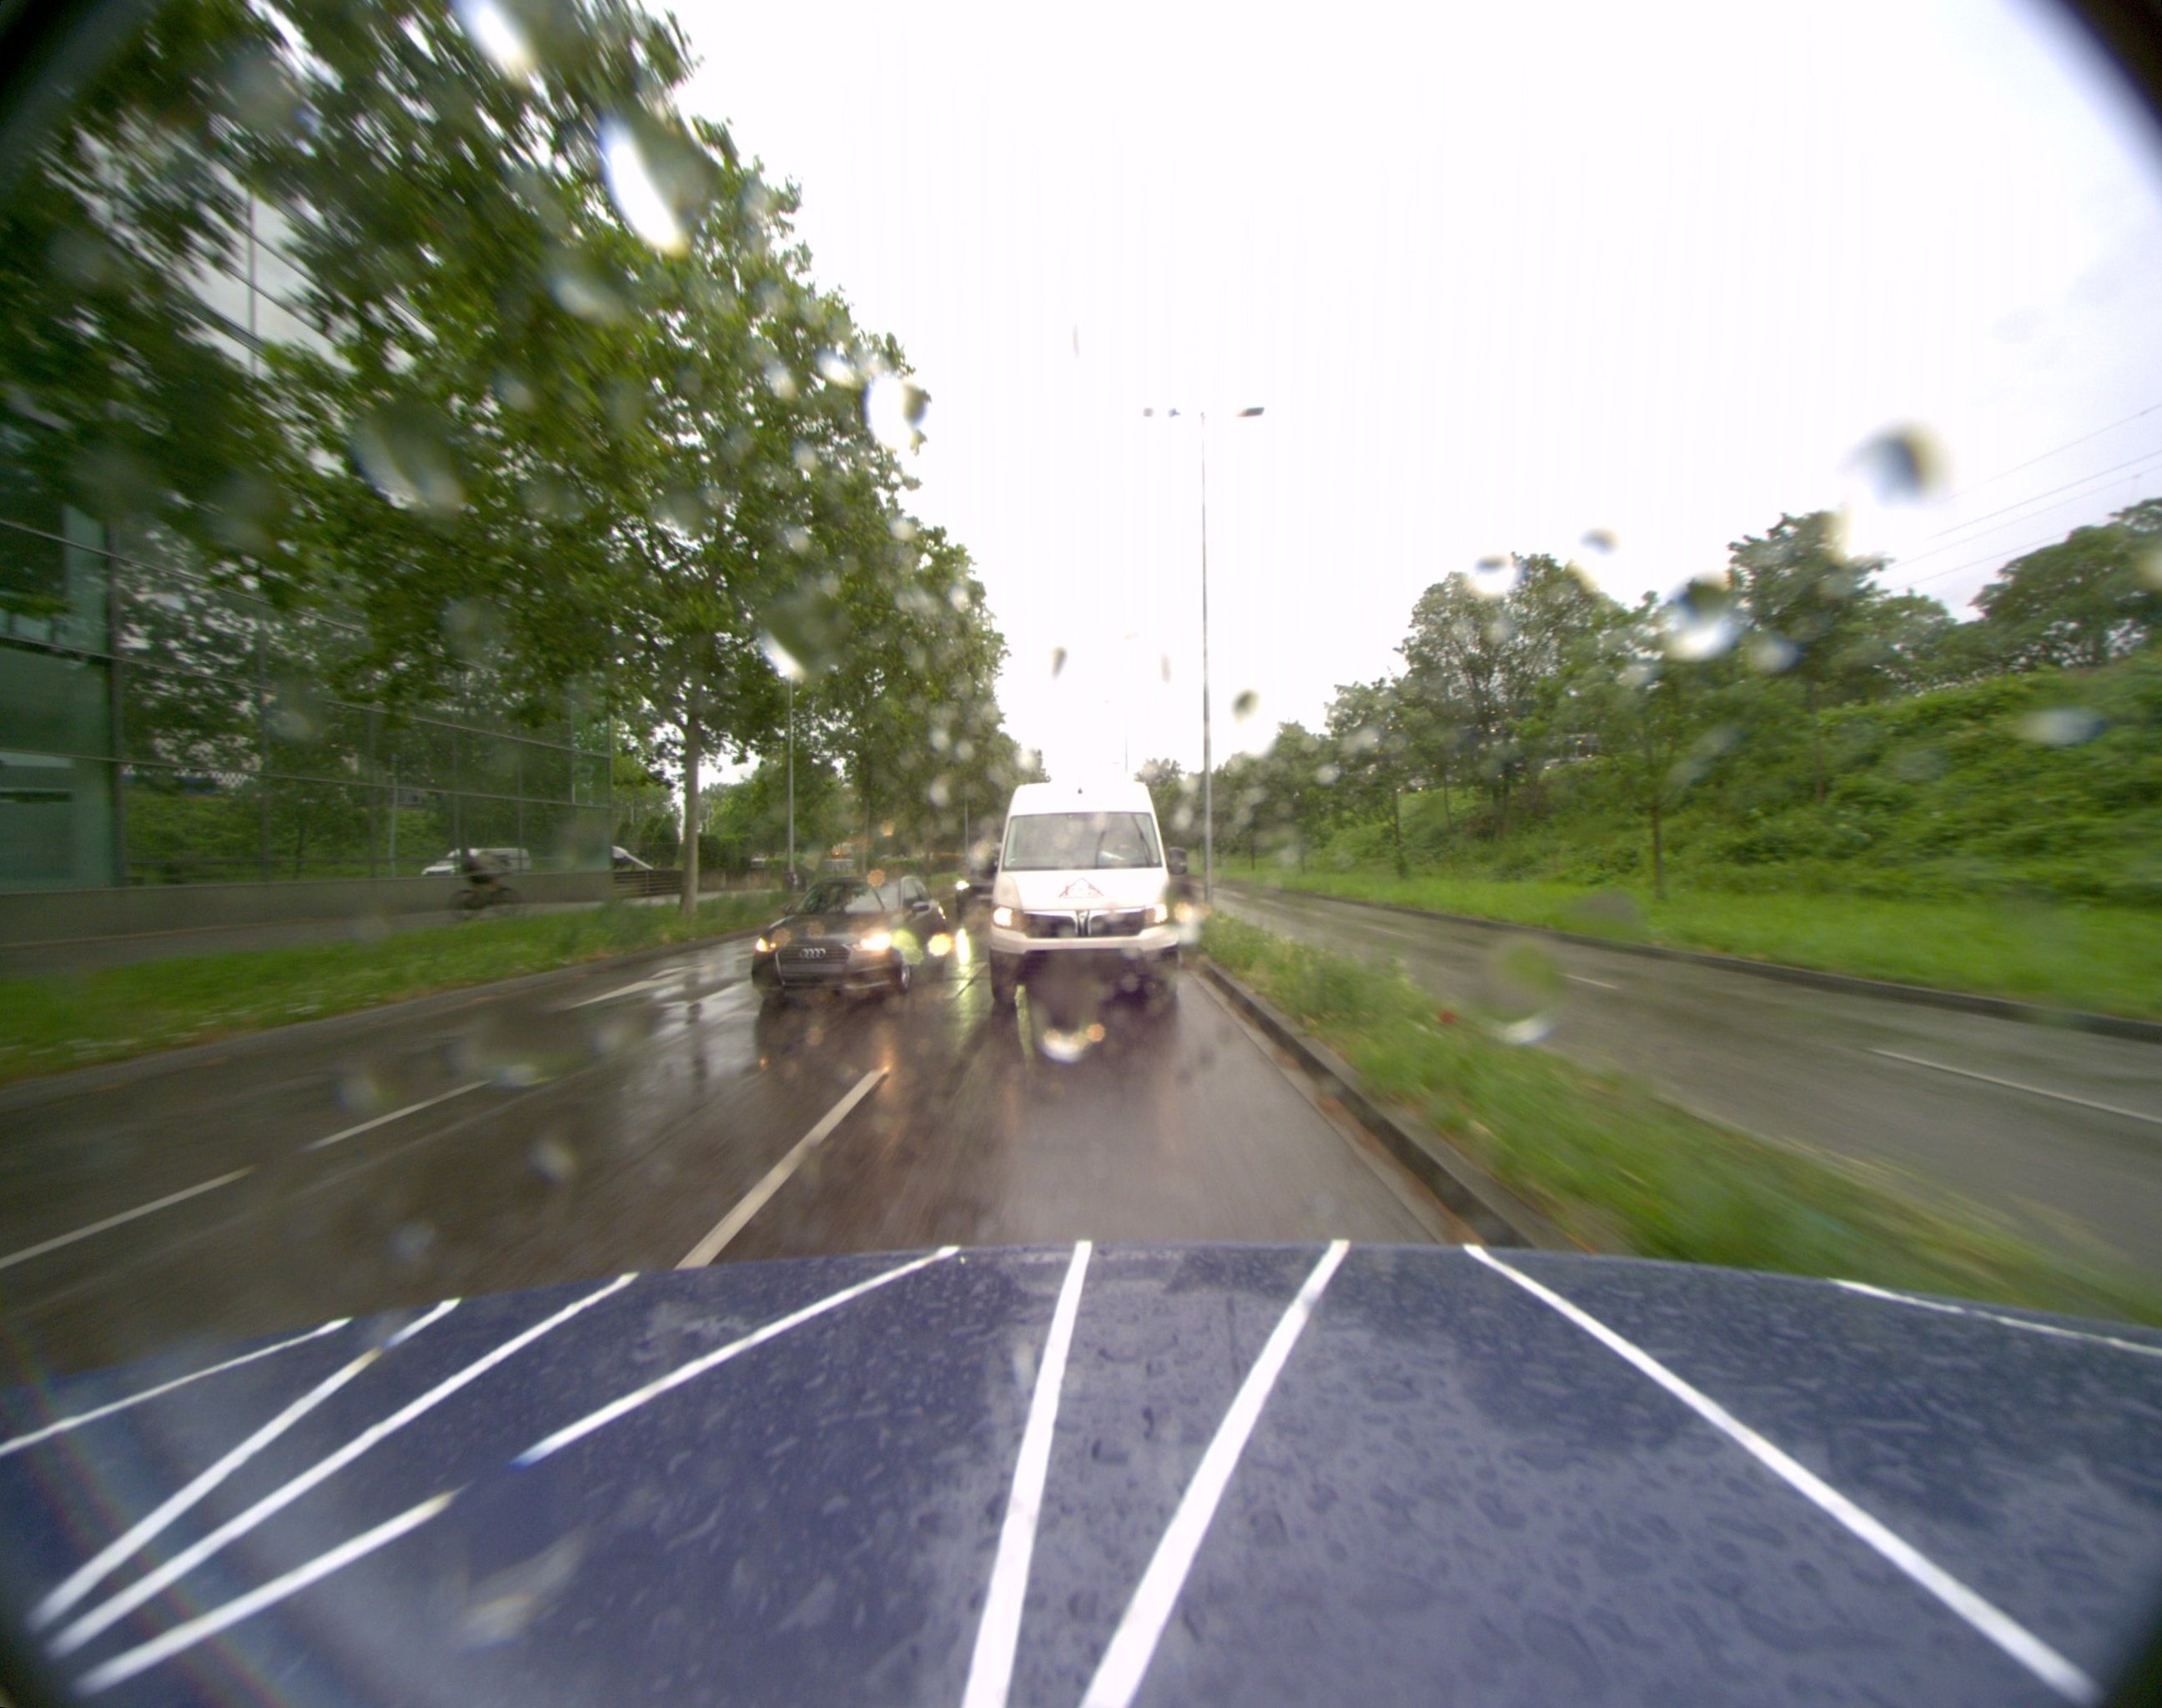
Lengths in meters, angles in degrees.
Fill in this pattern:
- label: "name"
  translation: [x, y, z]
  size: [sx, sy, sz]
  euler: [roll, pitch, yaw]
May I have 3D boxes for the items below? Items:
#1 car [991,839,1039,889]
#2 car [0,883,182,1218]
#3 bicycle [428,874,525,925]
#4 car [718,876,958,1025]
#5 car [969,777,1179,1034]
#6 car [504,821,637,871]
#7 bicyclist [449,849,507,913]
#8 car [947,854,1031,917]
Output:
- label: "car"
  translation: [-3.332, 0.492, 39.395]
  size: [1.998, 2.416, 4.977]
  euler: [0, 0, 0]
- label: "car"
  translation: [-6.329, 1.001, 2.422]
  size: [1.905, 1.622, 4.170]
  euler: [0, 0, 1]
- label: "bicycle"
  translation: [-14.734, 1.071, 18.603]
  size: [0.745, 1.098, 2.076]
  euler: [1, 1, -2]
- label: "car"
  translation: [-2.856, 1.068, 9.864]
  size: [1.841, 1.390, 3.753]
  euler: [-2, 0, 0]
- label: "car"
  translation: [0.010, 0.475, 10.164]
  size: [1.968, 2.419, 5.961]
  euler: [0, 0, 1]
- label: "car"
  translation: [-27.098, -0.458, 40.484]
  size: [5.706, 2.442, 1.995]
  euler: [-2, 1, -36]
- label: "bicyclist"
  translation: [-14.721, 0.637, 18.560]
  size: [0.807, 1.506, 0.752]
  euler: [2, 1, -3]
- label: "car"
  translation: [-2.698, 0.880, 23.294]
  size: [1.998, 1.738, 4.327]
  euler: [0, 0, 0]
